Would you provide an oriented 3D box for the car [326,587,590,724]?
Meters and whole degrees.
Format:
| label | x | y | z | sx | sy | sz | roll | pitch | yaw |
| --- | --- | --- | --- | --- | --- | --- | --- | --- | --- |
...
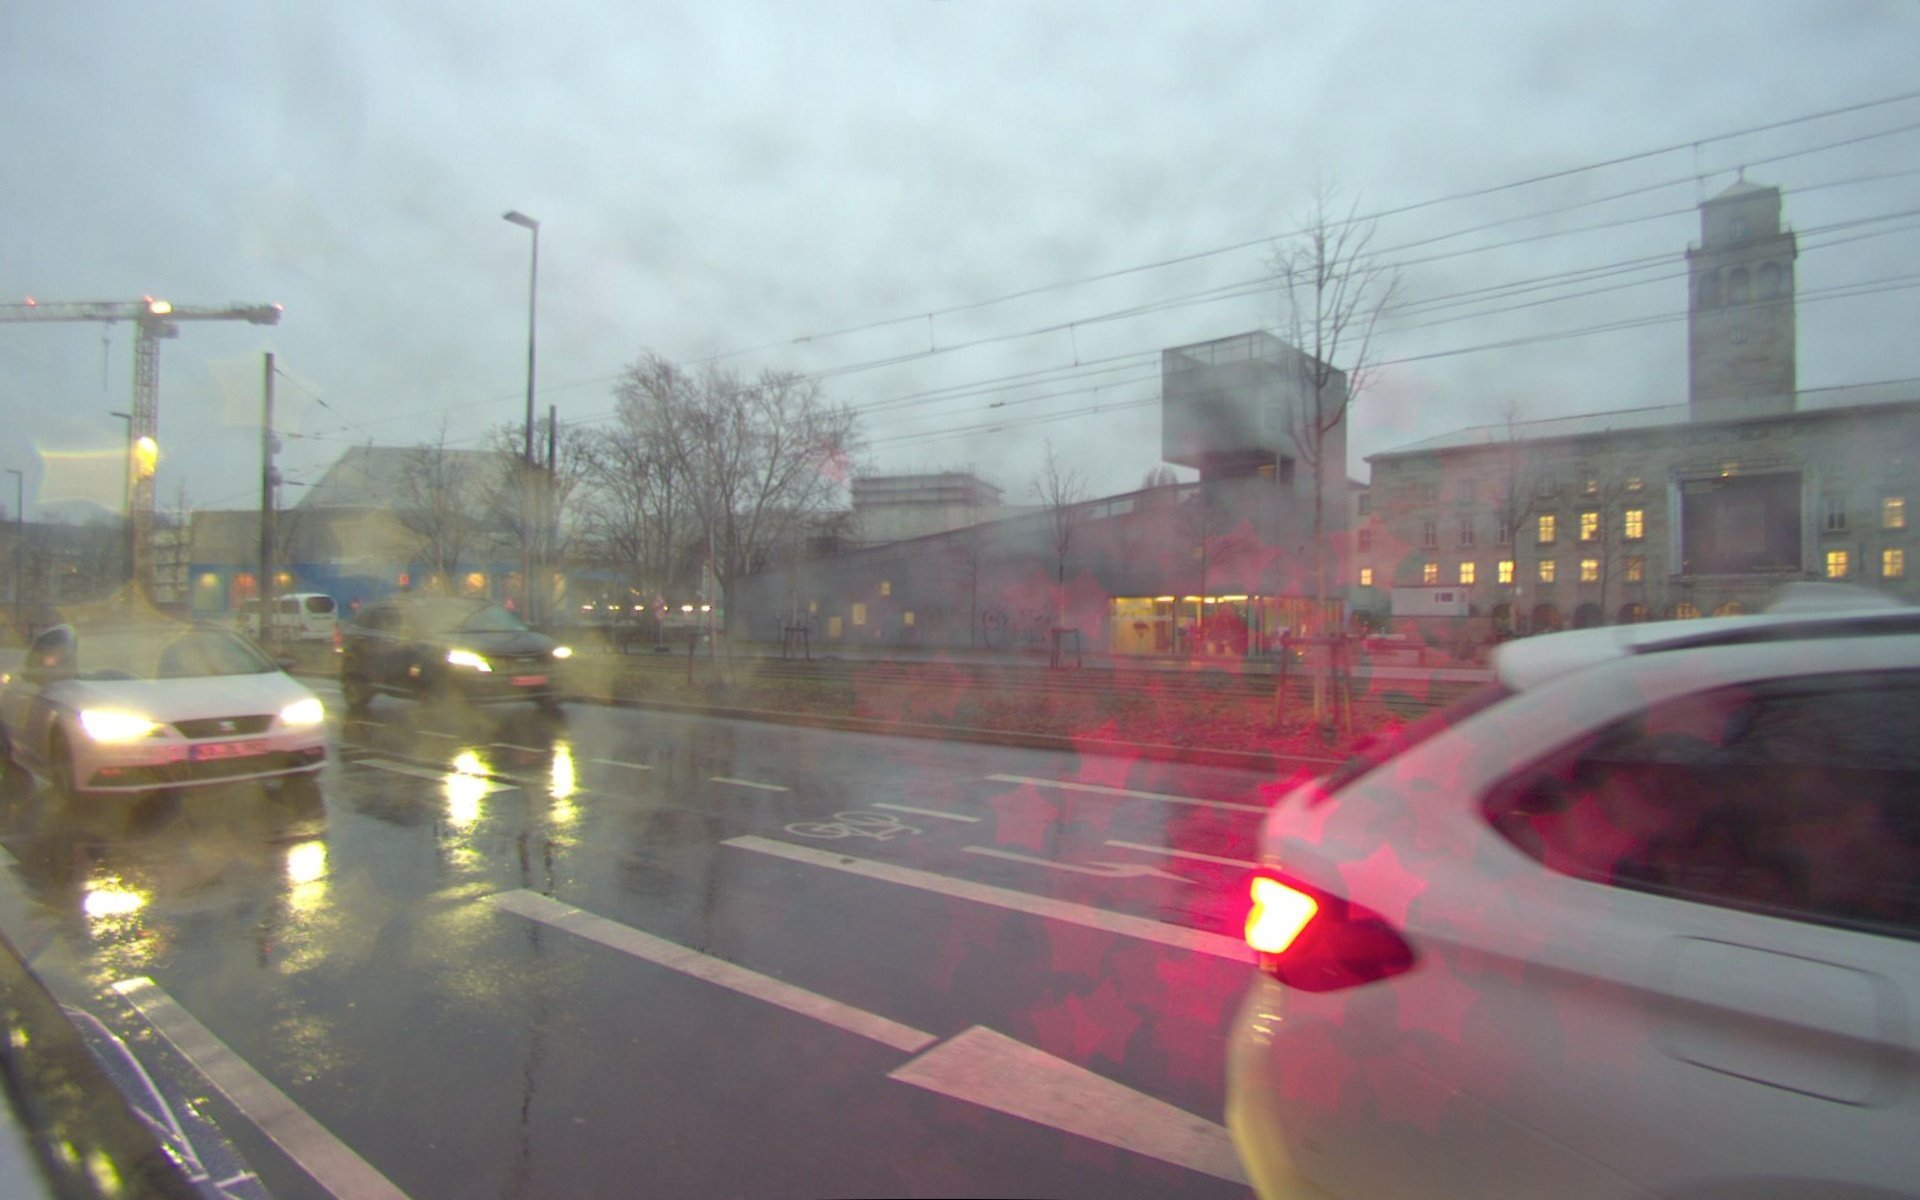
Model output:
| label | x | y | z | sx | sy | sz | roll | pitch | yaw |
| --- | --- | --- | --- | --- | --- | --- | --- | --- | --- |
| car | -7.589 | 0.761 | 15.103 | 4.605 | 1.756 | 1.686 | -1 | -2 | 38 |

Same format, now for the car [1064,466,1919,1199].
| label | x | y | z | sx | sy | sz | roll | pitch | yaw |
| --- | --- | --- | --- | --- | --- | --- | --- | --- | --- |
| car | 2.677 | 0.613 | 1.093 | 4.920 | 1.532 | 1.890 | -1 | -2 | 40 |

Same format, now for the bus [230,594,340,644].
| label | x | y | z | sx | sy | sz | roll | pitch | yaw |
| --- | --- | --- | --- | --- | --- | --- | --- | --- | --- |
| bus | -52.369 | 1.481 | 78.354 | 12.277 | 3.605 | 2.782 | -1 | -2 | 35 |

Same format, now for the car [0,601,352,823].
| label | x | y | z | sx | sy | sz | roll | pitch | yaw |
| --- | --- | --- | --- | --- | --- | --- | --- | --- | --- |
| car | -7.121 | 0.787 | 8.858 | 4.124 | 1.486 | 1.757 | -1 | 0 | 38 |
